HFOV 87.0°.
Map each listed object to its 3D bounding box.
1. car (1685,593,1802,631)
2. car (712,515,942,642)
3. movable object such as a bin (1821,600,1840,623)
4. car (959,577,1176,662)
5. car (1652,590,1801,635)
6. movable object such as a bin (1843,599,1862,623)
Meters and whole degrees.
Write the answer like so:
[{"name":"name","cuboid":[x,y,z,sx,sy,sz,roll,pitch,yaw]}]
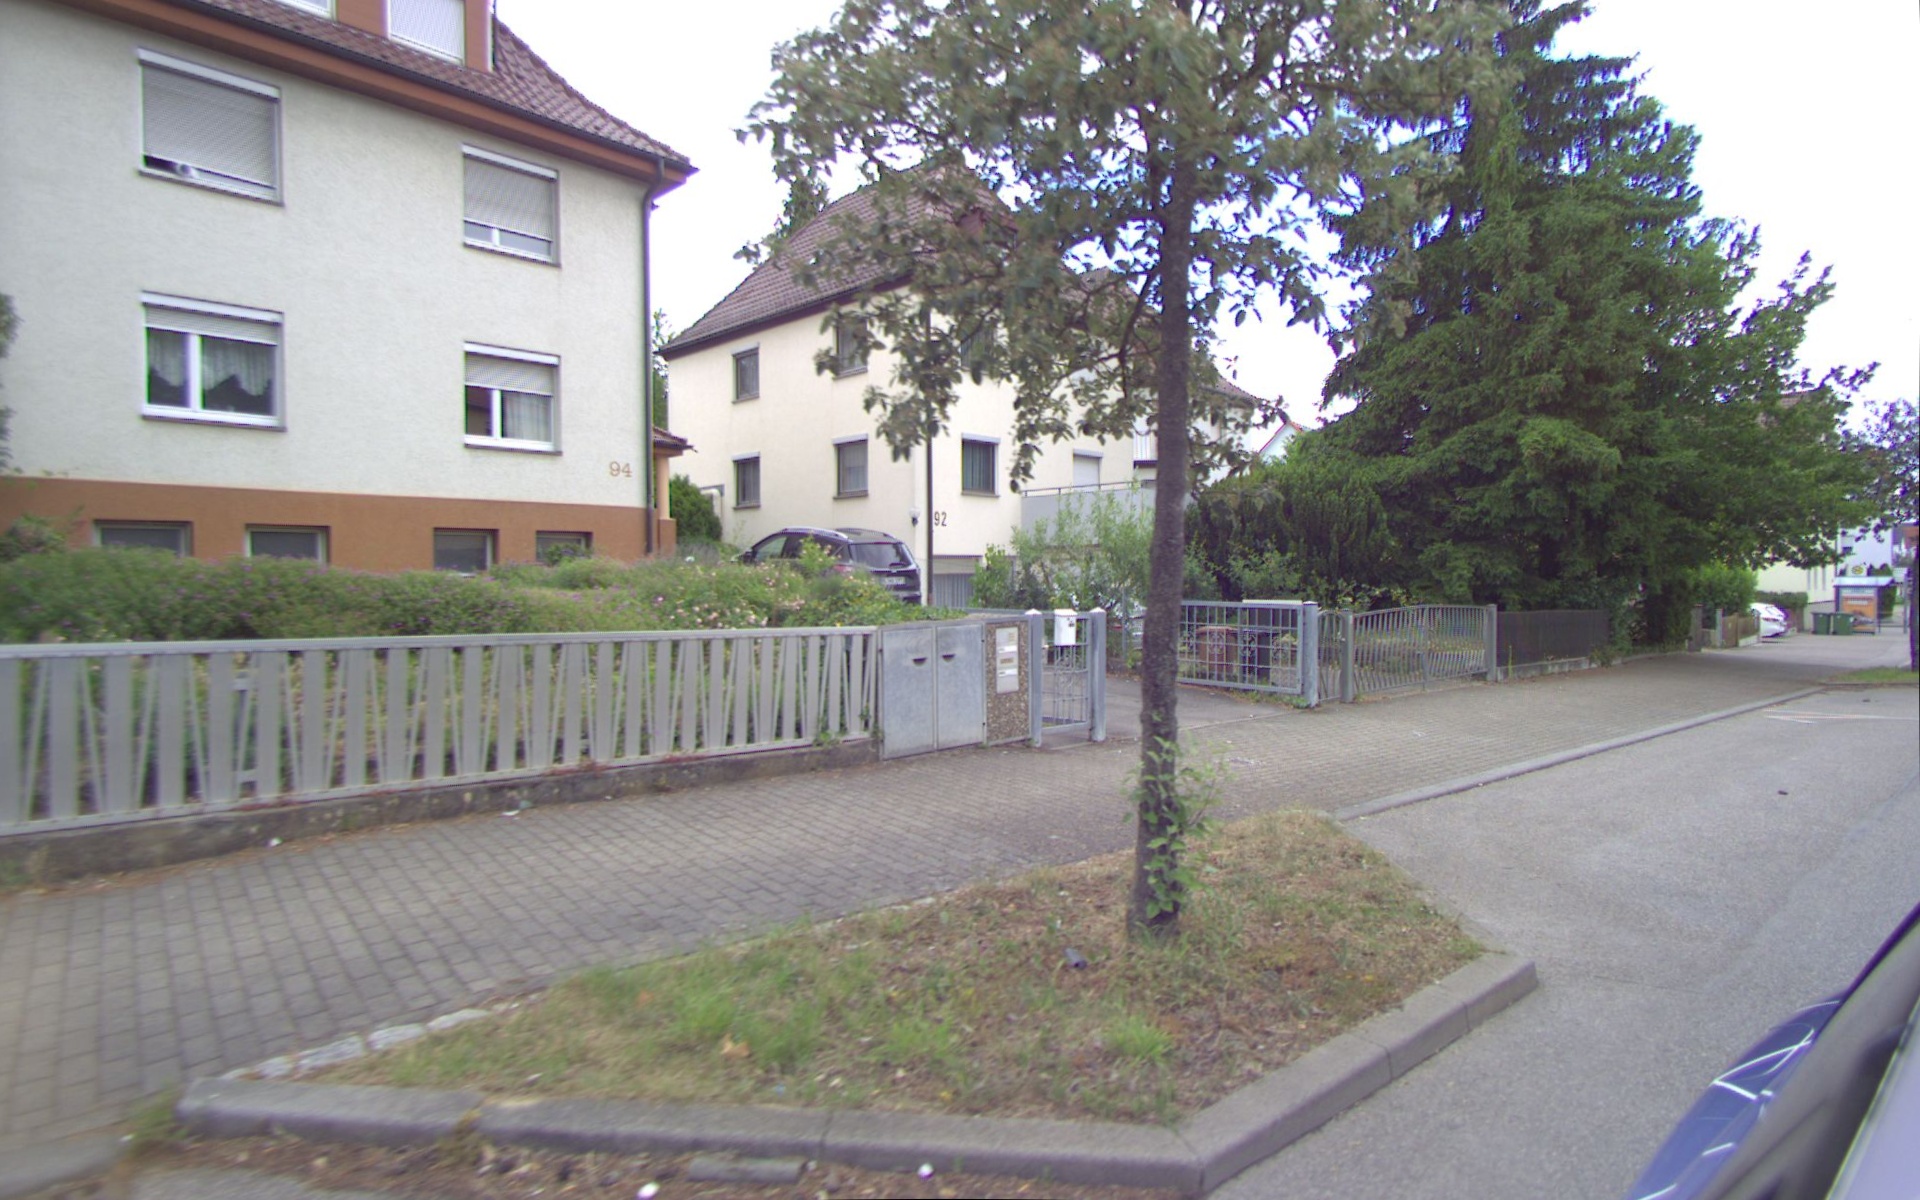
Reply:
[{"name":"car","cuboid":[33.734,0.472,43.631,3.803,1.418,1.615,3,3,44]},{"name":"car","cuboid":[-2.359,-0.486,17.202,1.855,1.722,3.993,-4,8,-44]},{"name":"movable object such as a bin","cuboid":[40.232,0.525,46.786,0.635,1.059,0.577,0,1,41]},{"name":"car","cuboid":[1.893,0.273,18.785,1.617,1.410,3.993,-1,2,-42]},{"name":"car","cuboid":[30.109,0.456,39.861,1.833,1.506,4.427,-2,3,-42]},{"name":"movable object such as a bin","cuboid":[40.800,0.517,46.271,0.635,1.060,0.577,-2,0,41]}]
